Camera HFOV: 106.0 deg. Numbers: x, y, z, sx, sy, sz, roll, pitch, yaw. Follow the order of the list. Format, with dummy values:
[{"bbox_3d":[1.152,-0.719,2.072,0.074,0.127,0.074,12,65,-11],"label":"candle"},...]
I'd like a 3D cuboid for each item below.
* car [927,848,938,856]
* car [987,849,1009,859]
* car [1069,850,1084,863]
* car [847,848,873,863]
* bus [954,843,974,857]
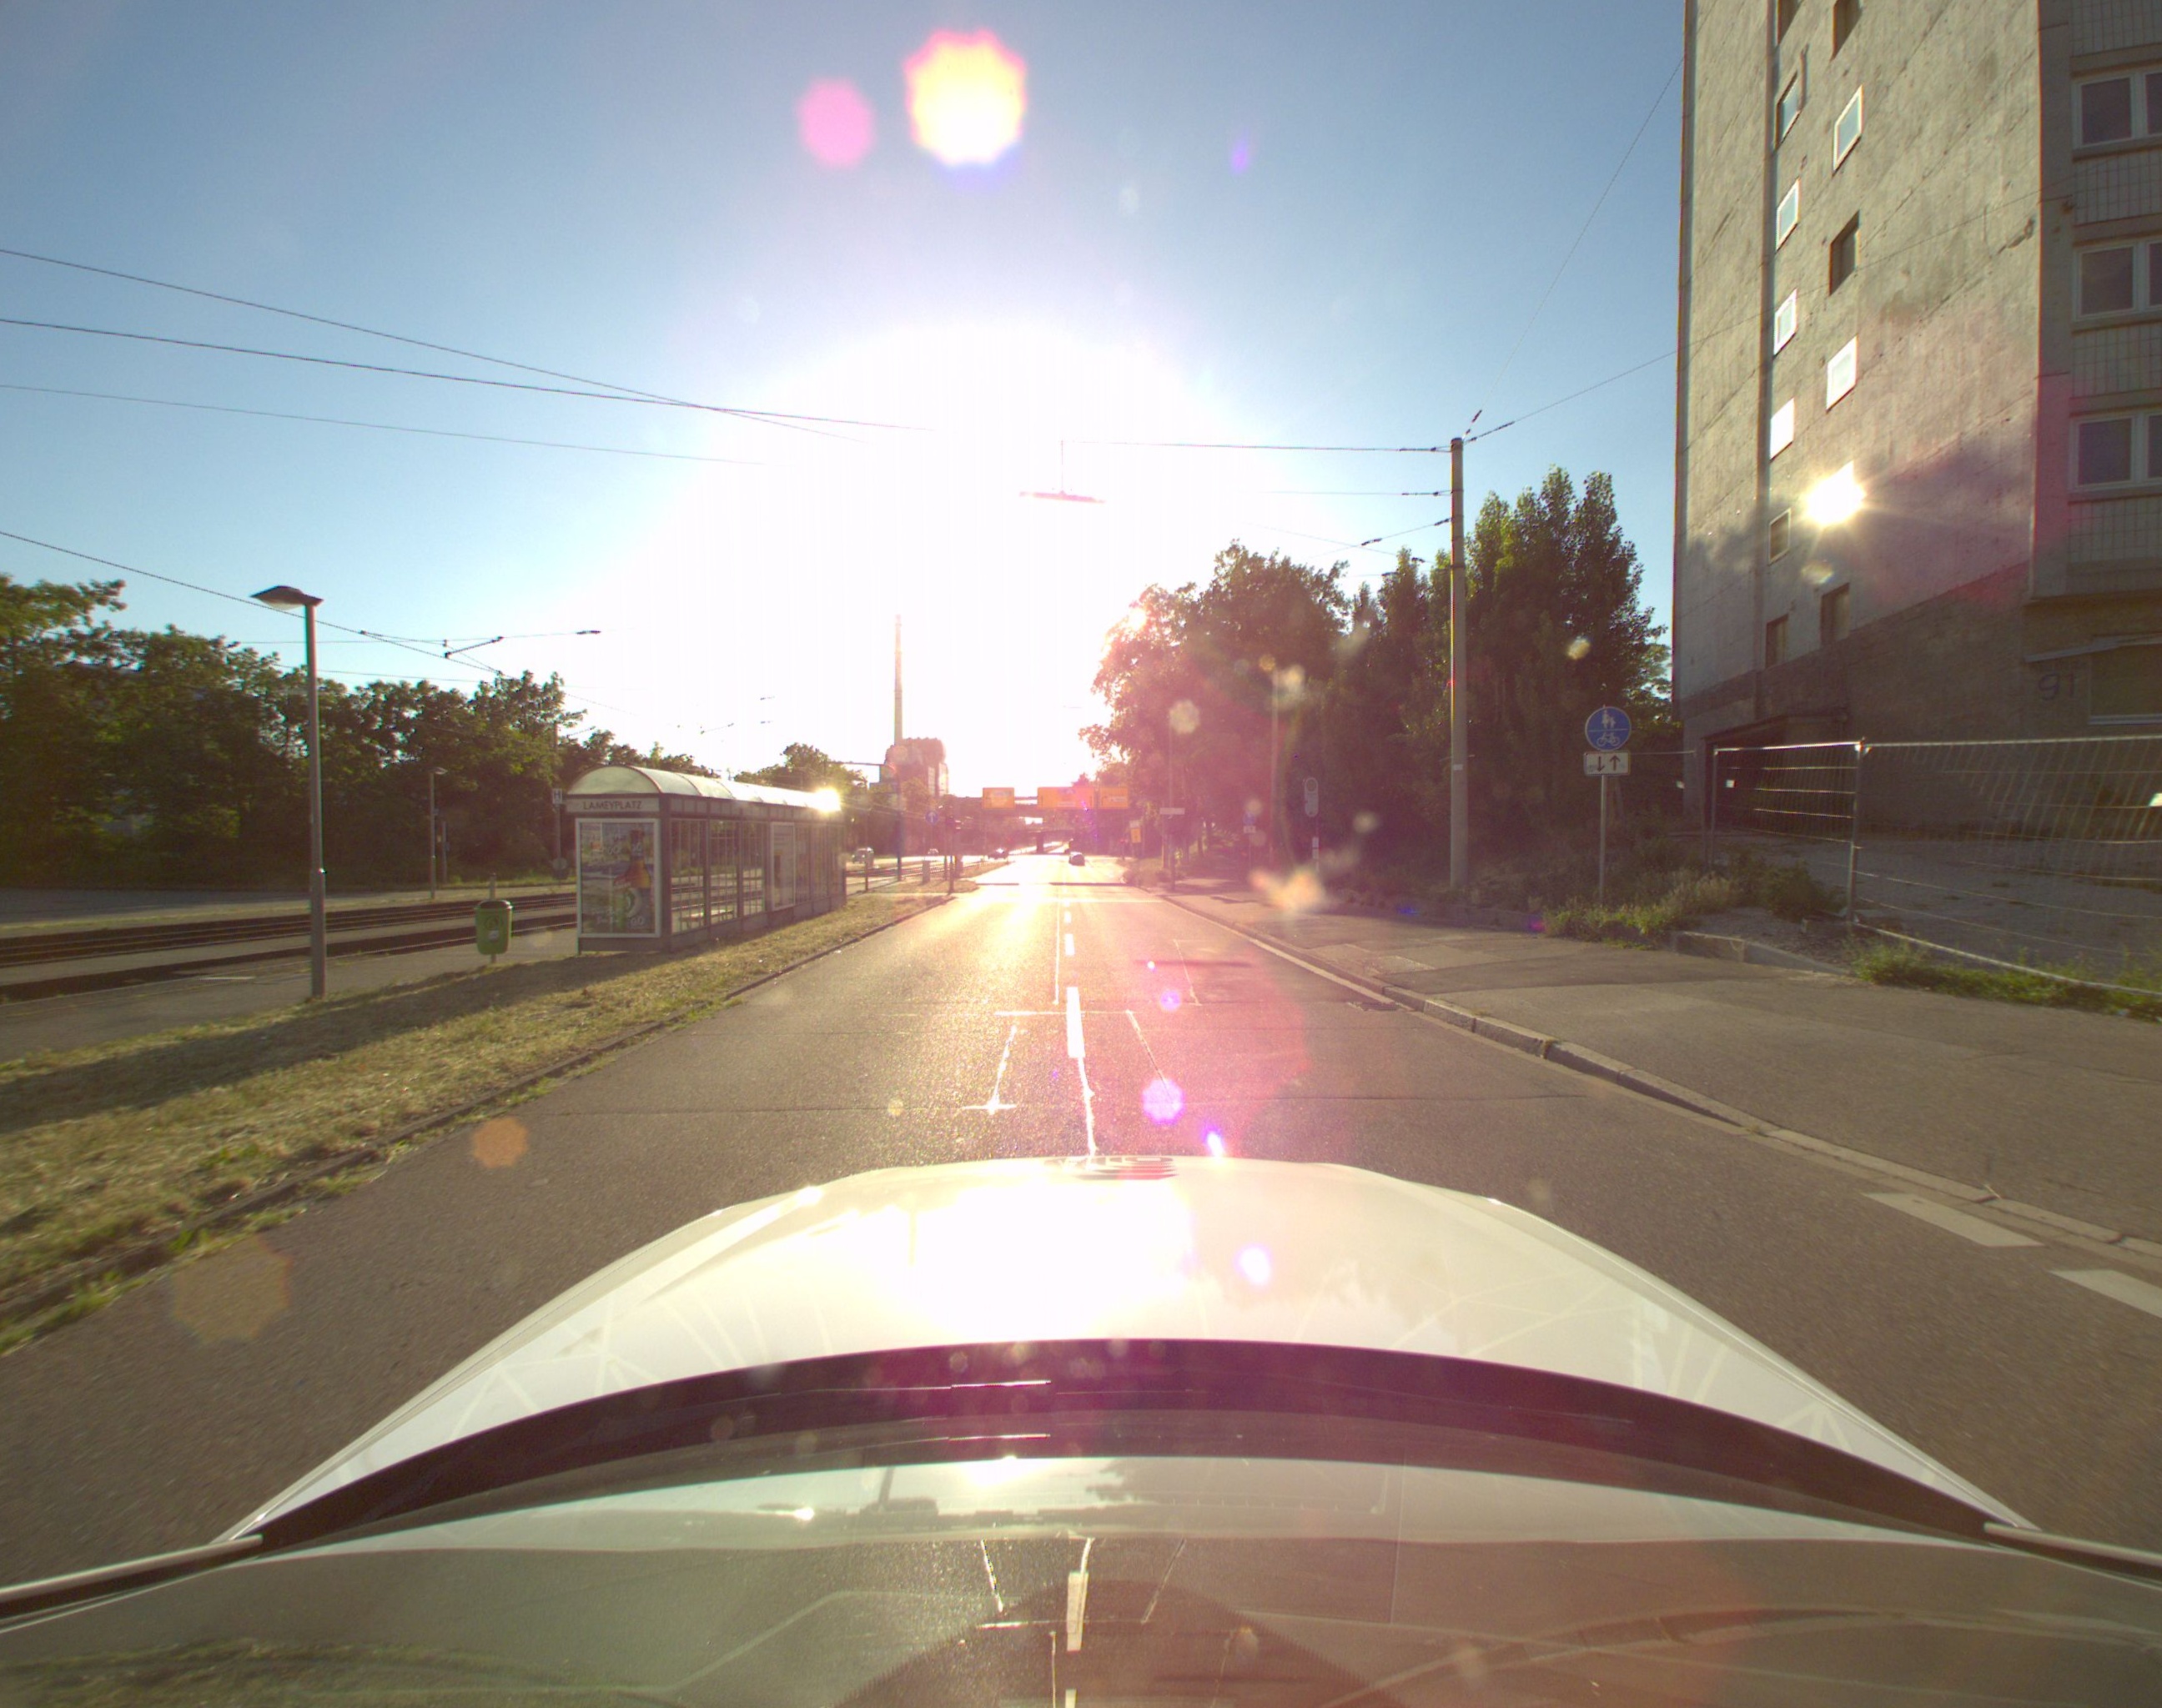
[{"bbox_3d":[-29.829,-0.370,163.632,1.603,1.512,4.004,1,1,-3],"label":"car"},{"bbox_3d":[-12.965,-0.017,127.168,1.748,1.505,3.959,-1,1,-33],"label":"car"},{"bbox_3d":[-0.538,0.340,100.619,1.732,1.505,3.997,0,1,-2],"label":"car"},{"bbox_3d":[-27.972,0.181,103.243,1.926,1.787,4.261,0,1,1],"label":"car"},{"bbox_3d":[-28.062,-0.987,196.202,2.534,3.130,12.922,0,0,2],"label":"bus"}]
